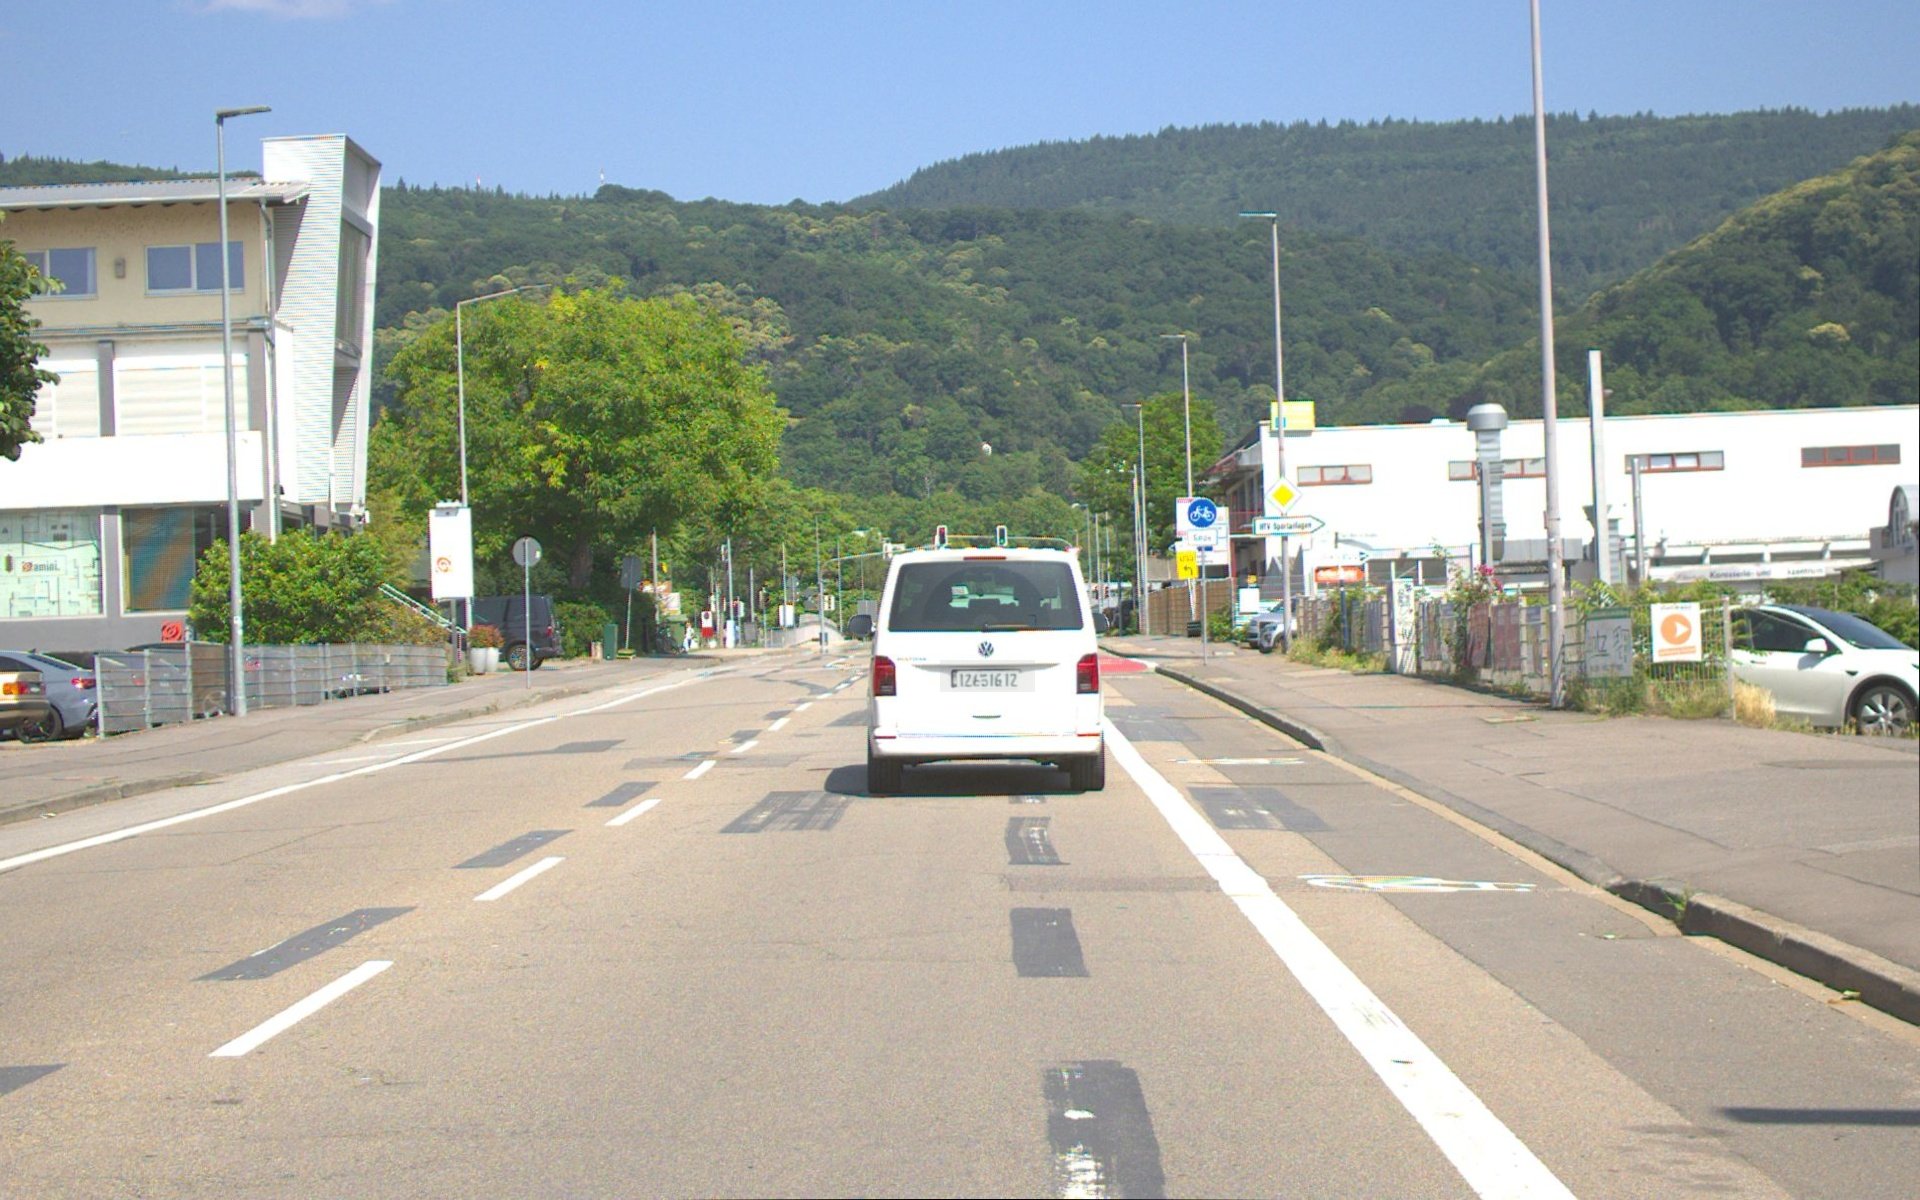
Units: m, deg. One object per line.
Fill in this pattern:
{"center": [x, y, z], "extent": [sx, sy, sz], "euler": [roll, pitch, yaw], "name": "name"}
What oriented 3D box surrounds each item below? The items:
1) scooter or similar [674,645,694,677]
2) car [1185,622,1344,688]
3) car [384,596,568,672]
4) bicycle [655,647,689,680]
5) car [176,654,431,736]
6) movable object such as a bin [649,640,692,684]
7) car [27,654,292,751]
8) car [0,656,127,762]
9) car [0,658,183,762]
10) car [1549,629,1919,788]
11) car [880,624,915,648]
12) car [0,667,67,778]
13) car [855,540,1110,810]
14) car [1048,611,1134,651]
{"center": [-9.717, 2.138, 121.148], "extent": [0.646, 1.124, 1.623], "euler": [1, -1, -6], "name": "scooter or similar"}
{"center": [7.205, 1.295, 81.560], "extent": [3.665, 1.479, 1.727], "euler": [-1, -1, 3], "name": "car"}
{"center": [-12.525, 0.878, 89.168], "extent": [4.565, 1.859, 2.093], "euler": [-1, -1, -4], "name": "car"}
{"center": [-9.840, 2.168, 117.709], "extent": [1.026, 1.114, 2.766], "euler": [1, -1, -2], "name": "bicycle"}
{"center": [-13.252, 1.911, 69.575], "extent": [4.739, 1.476, 2.048], "euler": [-2, -1, -1], "name": "car"}
{"center": [-10.694, 2.287, 126.841], "extent": [1.448, 1.585, 1.307], "euler": [-2, -1, -8], "name": "movable object such as a bin"}
{"center": [-14.289, 1.823, 61.552], "extent": [4.295, 1.553, 1.995], "euler": [-2, -1, -3], "name": "car"}
{"center": [-14.131, 1.534, 49.429], "extent": [3.889, 1.439, 1.823], "euler": [2, -3, -4], "name": "car"}
{"center": [-13.876, 1.628, 51.581], "extent": [3.987, 1.438, 1.859], "euler": [2, -3, -1], "name": "car"}
{"center": [9.294, 1.233, 38.371], "extent": [5.043, 1.616, 2.018], "euler": [-2, -6, 43], "name": "car"}
{"center": [-3.858, 2.241, 213.633], "extent": [1.993, 1.365, 4.326], "euler": [-2, -1, 1], "name": "car"}
{"center": [-14.682, 1.724, 46.798], "extent": [4.523, 1.452, 1.900], "euler": [-2, -1, -1], "name": "car"}
{"center": [0.135, 0.605, 28.799], "extent": [1.934, 2.053, 4.544], "euler": [1, -1, -1], "name": "car"}
{"center": [6.385, 1.529, 167.558], "extent": [3.988, 1.769, 1.999], "euler": [-2, -1, 7], "name": "car"}
